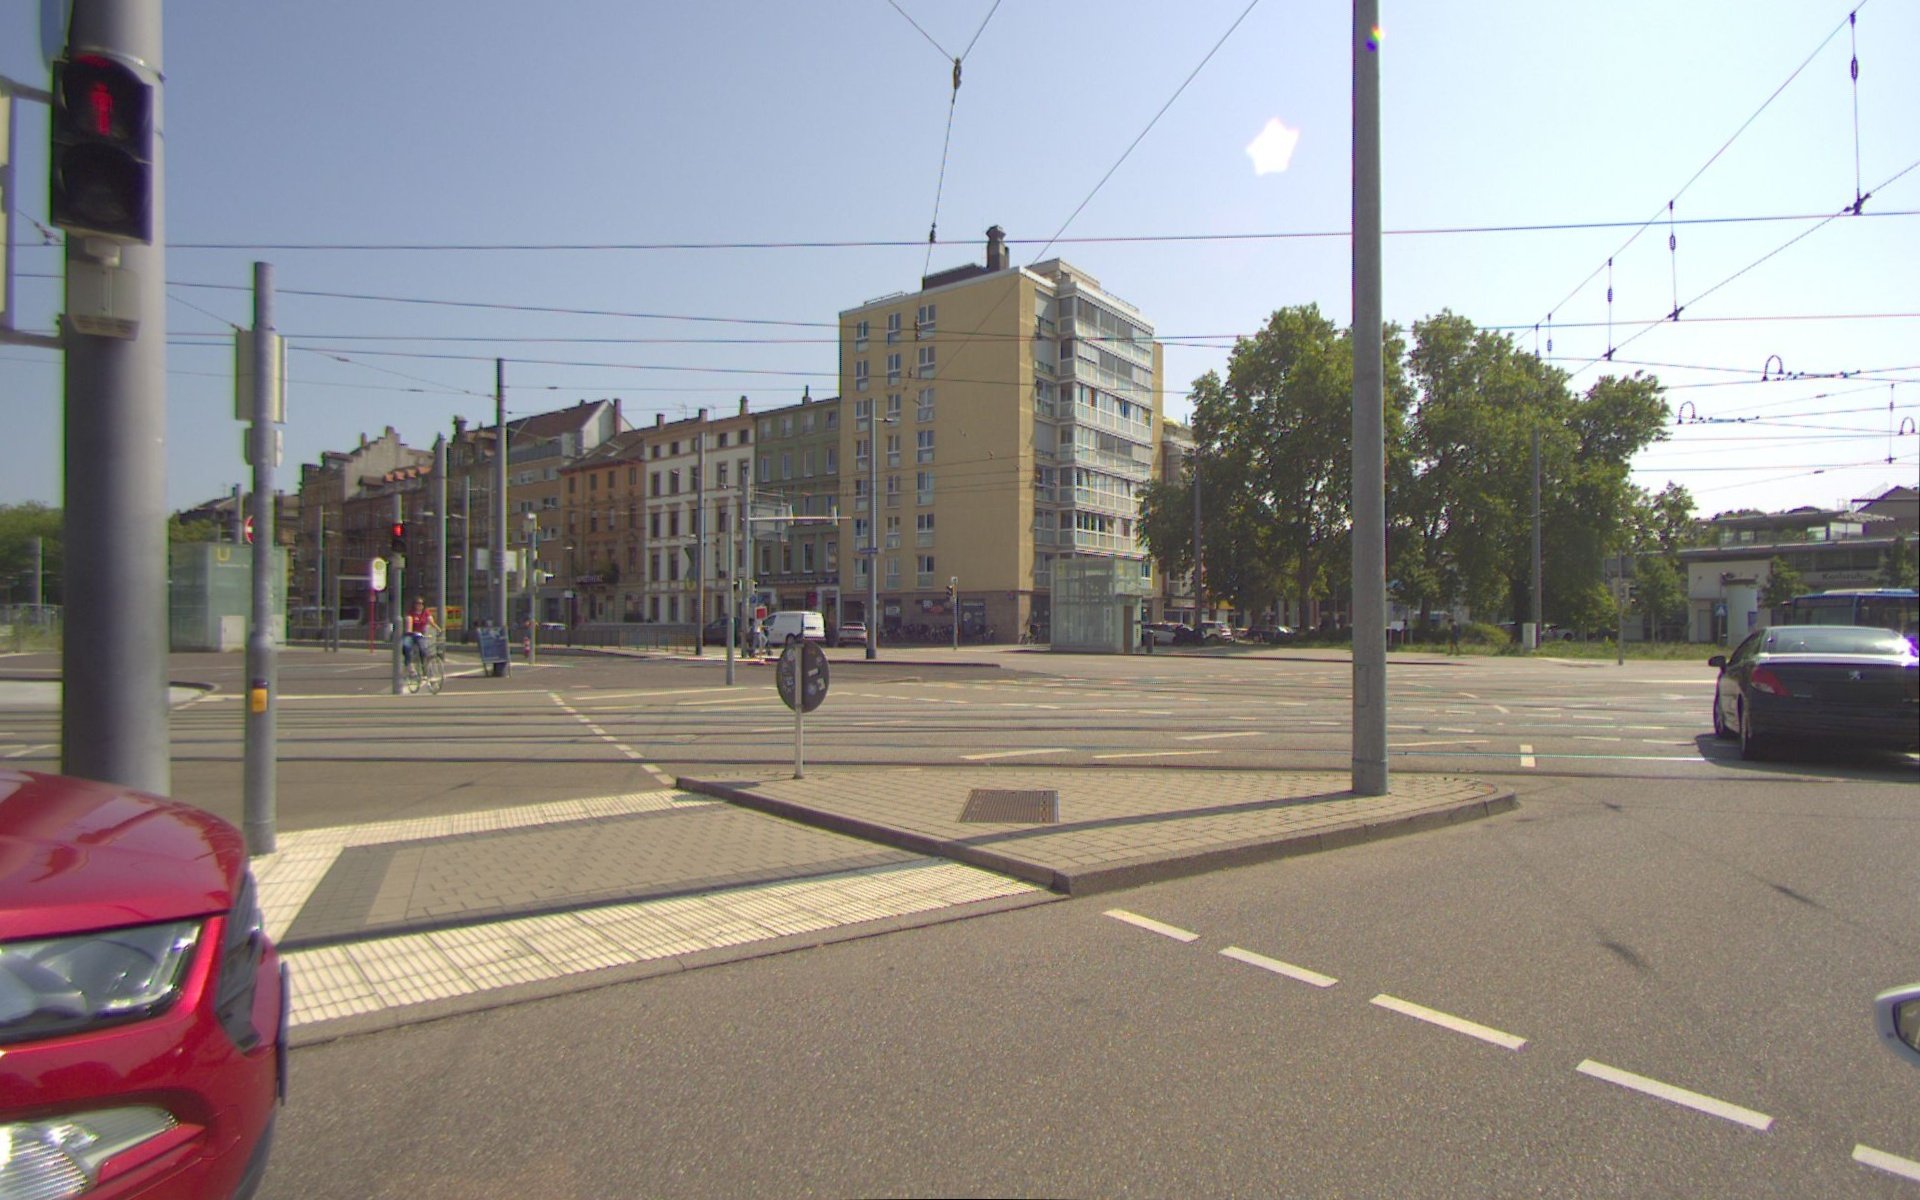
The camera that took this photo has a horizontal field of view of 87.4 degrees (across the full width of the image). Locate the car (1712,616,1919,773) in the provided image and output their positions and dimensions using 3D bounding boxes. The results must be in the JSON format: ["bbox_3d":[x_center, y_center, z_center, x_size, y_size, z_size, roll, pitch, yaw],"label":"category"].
[{"bbox_3d":[9.579,0.924,11.257,1.767,1.450,3.986,0,-1,36],"label":"car"}]

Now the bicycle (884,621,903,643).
[{"bbox_3d":[-4.358,2.099,65.819,0.886,1.423,3.365,0,-1,2],"label":"bicycle"}]

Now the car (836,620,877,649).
[{"bbox_3d":[-5.837,1.964,57.133,1.771,1.519,3.788,2,-3,2],"label":"car"}]

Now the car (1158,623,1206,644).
[{"bbox_3d":[15.803,2.369,71.389,3.047,1.447,1.399,-1,-1,35],"label":"car"}]

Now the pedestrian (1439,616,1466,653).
[{"bbox_3d":[22.191,1.562,45.265,0.934,1.630,0.791,-2,-1,35],"label":"pedestrian"}]

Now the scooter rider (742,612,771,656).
[{"bbox_3d":[-7.983,1.334,39.411,0.766,1.695,0.771,0,-1,34],"label":"scooter rider"}]

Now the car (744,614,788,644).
[{"bbox_3d":[-11.863,1.756,61.771,2.004,1.736,4.664,0,-1,-3],"label":"car"}]

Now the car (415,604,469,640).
[{"bbox_3d":[-44.154,1.871,85.551,5.518,2.927,2.294,-1,0,42],"label":"car"}]

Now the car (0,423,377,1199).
[{"bbox_3d":[-3.011,0.593,1.068,4.040,1.639,1.752,1,-2,-34],"label":"car"}]

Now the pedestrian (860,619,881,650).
[{"bbox_3d":[-5.016,1.938,56.479,0.886,1.726,1.039,0,-2,11],"label":"pedestrian"}]

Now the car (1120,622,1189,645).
[{"bbox_3d":[13.020,2.236,67.280,4.177,1.490,1.900,-1,-2,35],"label":"car"}]

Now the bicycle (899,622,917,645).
[{"bbox_3d":[-3.338,2.142,64.640,0.886,1.423,3.365,0,-1,2],"label":"bicycle"}]

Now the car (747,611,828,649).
[{"bbox_3d":[-8.569,1.498,49.844,3.936,1.803,1.789,-2,-3,37],"label":"car"}]

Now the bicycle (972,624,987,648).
[{"bbox_3d":[1.211,2.230,62.349,0.886,1.423,3.365,0,-1,2],"label":"bicycle"}]

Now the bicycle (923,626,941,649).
[{"bbox_3d":[-1.755,2.342,63.573,0.886,1.423,3.365,0,-1,2],"label":"bicycle"}]

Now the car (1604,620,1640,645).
[{"bbox_3d":[58.453,2.835,88.803,2.293,2.040,6.794,2,0,31],"label":"car"}]

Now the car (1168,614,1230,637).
[{"bbox_3d":[17.409,1.859,73.181,4.007,1.688,1.785,-1,-1,35],"label":"car"}]

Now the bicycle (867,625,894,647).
[{"bbox_3d":[-4.700,2.128,59.193,1.765,1.313,0.472,-2,-2,40],"label":"bicycle"}]

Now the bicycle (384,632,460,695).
[{"bbox_3d":[-9.949,1.152,18.560,1.885,1.083,0.611,-1,-1,41],"label":"bicycle"}]

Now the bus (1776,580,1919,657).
[{"bbox_3d":[40.986,0.864,43.783,11.898,3.105,2.722,1,-1,-20],"label":"bus"}]

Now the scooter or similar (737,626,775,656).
[{"bbox_3d":[-8.001,1.594,39.430,0.698,1.164,1.338,0,-1,35],"label":"scooter or similar"}]

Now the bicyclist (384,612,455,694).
[{"bbox_3d":[-9.994,0.959,18.582,0.966,1.479,0.873,-1,-1,41],"label":"bicyclist"}]

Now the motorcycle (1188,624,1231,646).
[{"bbox_3d":[13.136,1.841,52.902,0.905,1.152,2.088,1,-2,-40],"label":"motorcycle"}]

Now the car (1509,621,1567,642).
[{"bbox_3d":[50.727,2.746,88.178,4.177,1.776,1.716,0,-1,-3],"label":"car"}]

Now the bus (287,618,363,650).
[{"bbox_3d":[-63.582,3.362,100.407,12.241,3.072,2.532,-1,-2,38],"label":"bus"}]

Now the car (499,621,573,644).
[{"bbox_3d":[-29.183,2.225,69.059,5.451,1.305,1.995,2,0,33],"label":"car"}]

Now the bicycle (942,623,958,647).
[{"bbox_3d":[-0.608,2.185,63.369,0.886,1.423,3.365,0,-1,2],"label":"bicycle"}]
